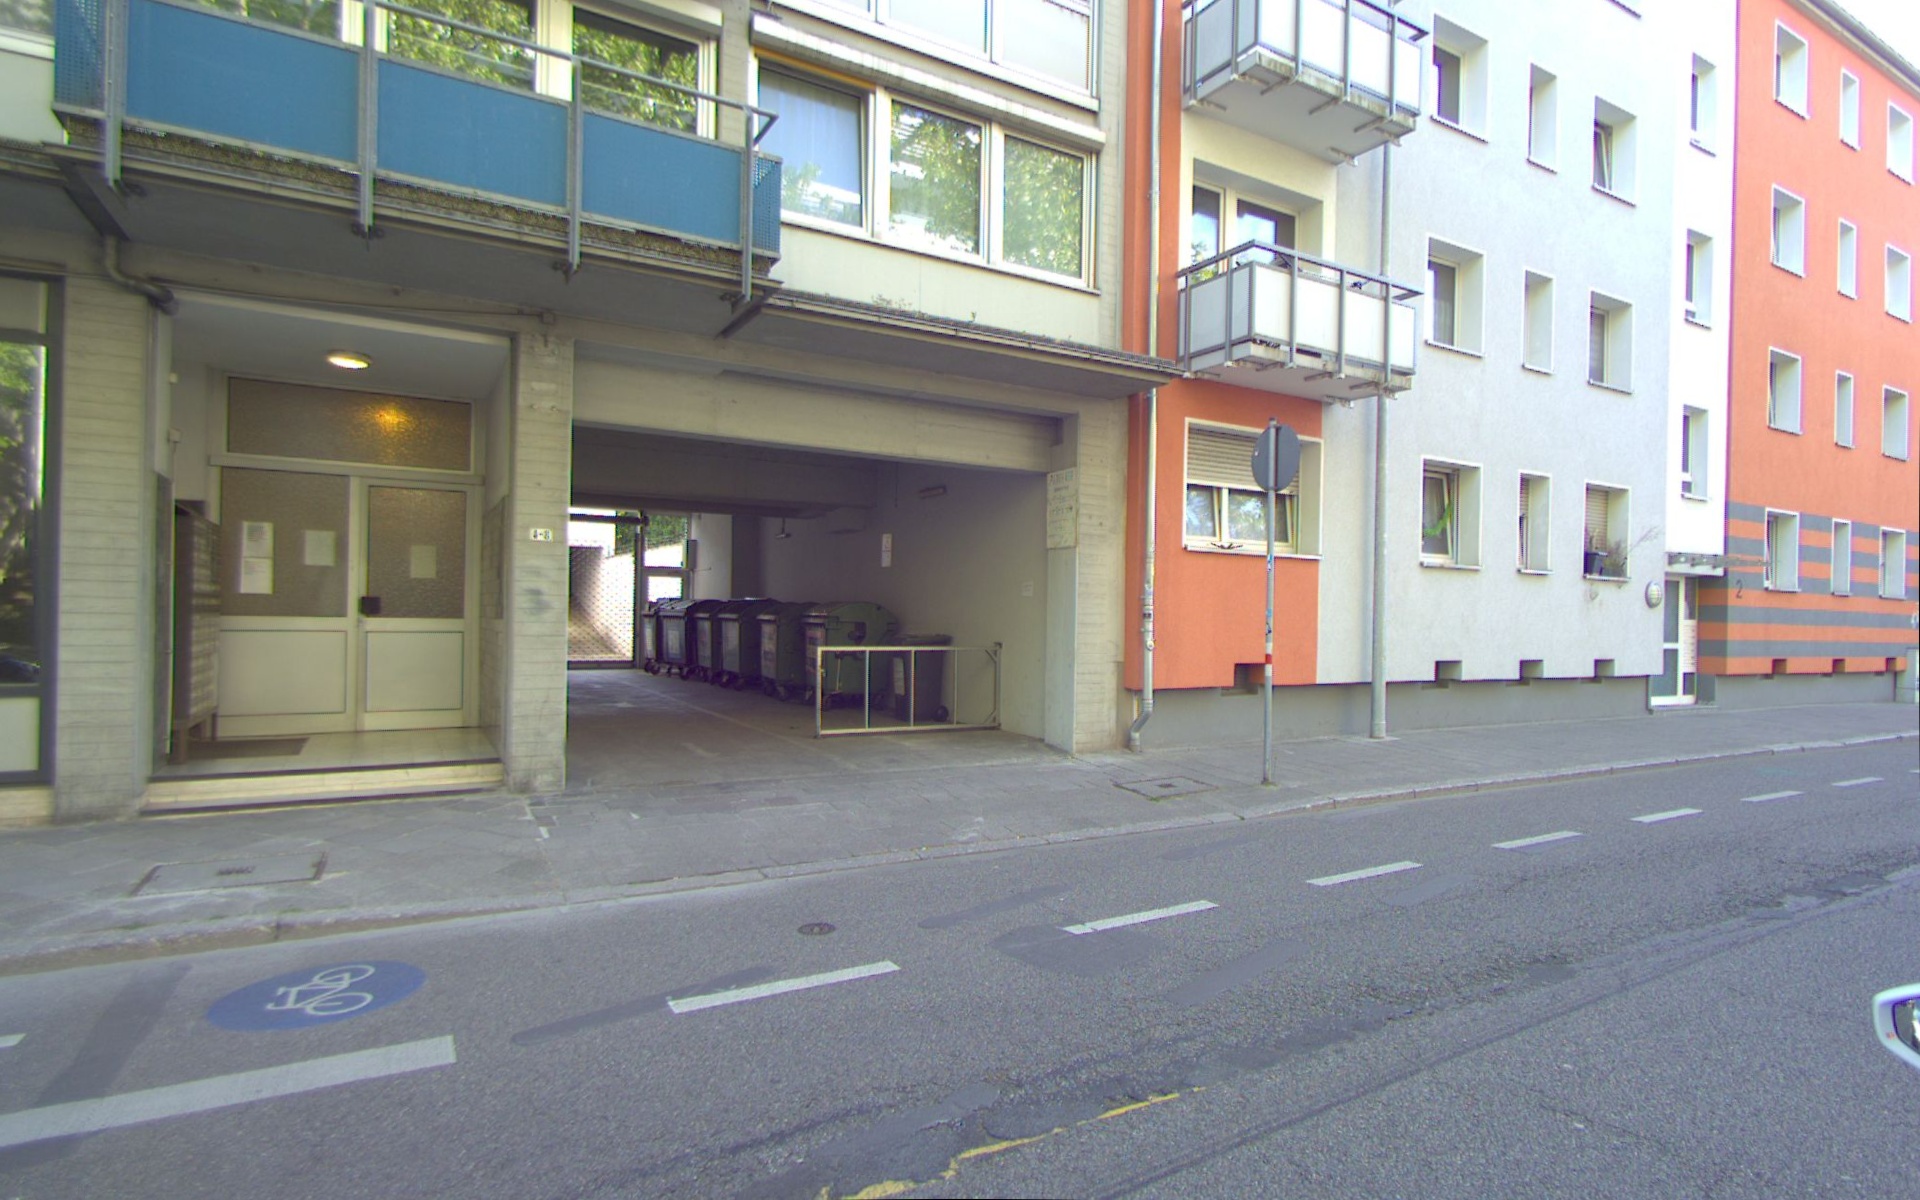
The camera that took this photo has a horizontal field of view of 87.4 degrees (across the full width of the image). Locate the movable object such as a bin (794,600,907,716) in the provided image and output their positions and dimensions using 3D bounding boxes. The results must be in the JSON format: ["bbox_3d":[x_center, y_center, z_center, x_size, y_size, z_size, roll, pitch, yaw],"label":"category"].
[{"bbox_3d":[-1.523,0.762,13.811,1.128,1.484,1.255,2,0,-28],"label":"movable object such as a bin"}]

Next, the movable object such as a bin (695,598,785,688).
[{"bbox_3d":[-3.889,0.737,17.748,1.264,1.515,1.155,2,0,-28],"label":"movable object such as a bin"}]

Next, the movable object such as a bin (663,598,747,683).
[{"bbox_3d":[-4.754,0.729,18.691,1.264,1.506,1.155,2,0,-28],"label":"movable object such as a bin"}]

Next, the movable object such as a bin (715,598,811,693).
[{"bbox_3d":[-3.286,0.735,16.700,1.264,1.506,1.155,2,0,-28],"label":"movable object such as a bin"}]

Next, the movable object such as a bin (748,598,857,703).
[{"bbox_3d":[-2.389,0.742,15.164,1.264,1.493,1.265,2,-1,-28],"label":"movable object such as a bin"}]

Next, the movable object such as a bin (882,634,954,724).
[{"bbox_3d":[-0.523,0.967,12.458,0.694,1.061,0.567,2,0,-28],"label":"movable object such as a bin"}]

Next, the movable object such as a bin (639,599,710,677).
[{"bbox_3d":[-5.673,0.740,19.947,1.128,1.484,1.129,2,0,-28],"label":"movable object such as a bin"}]
